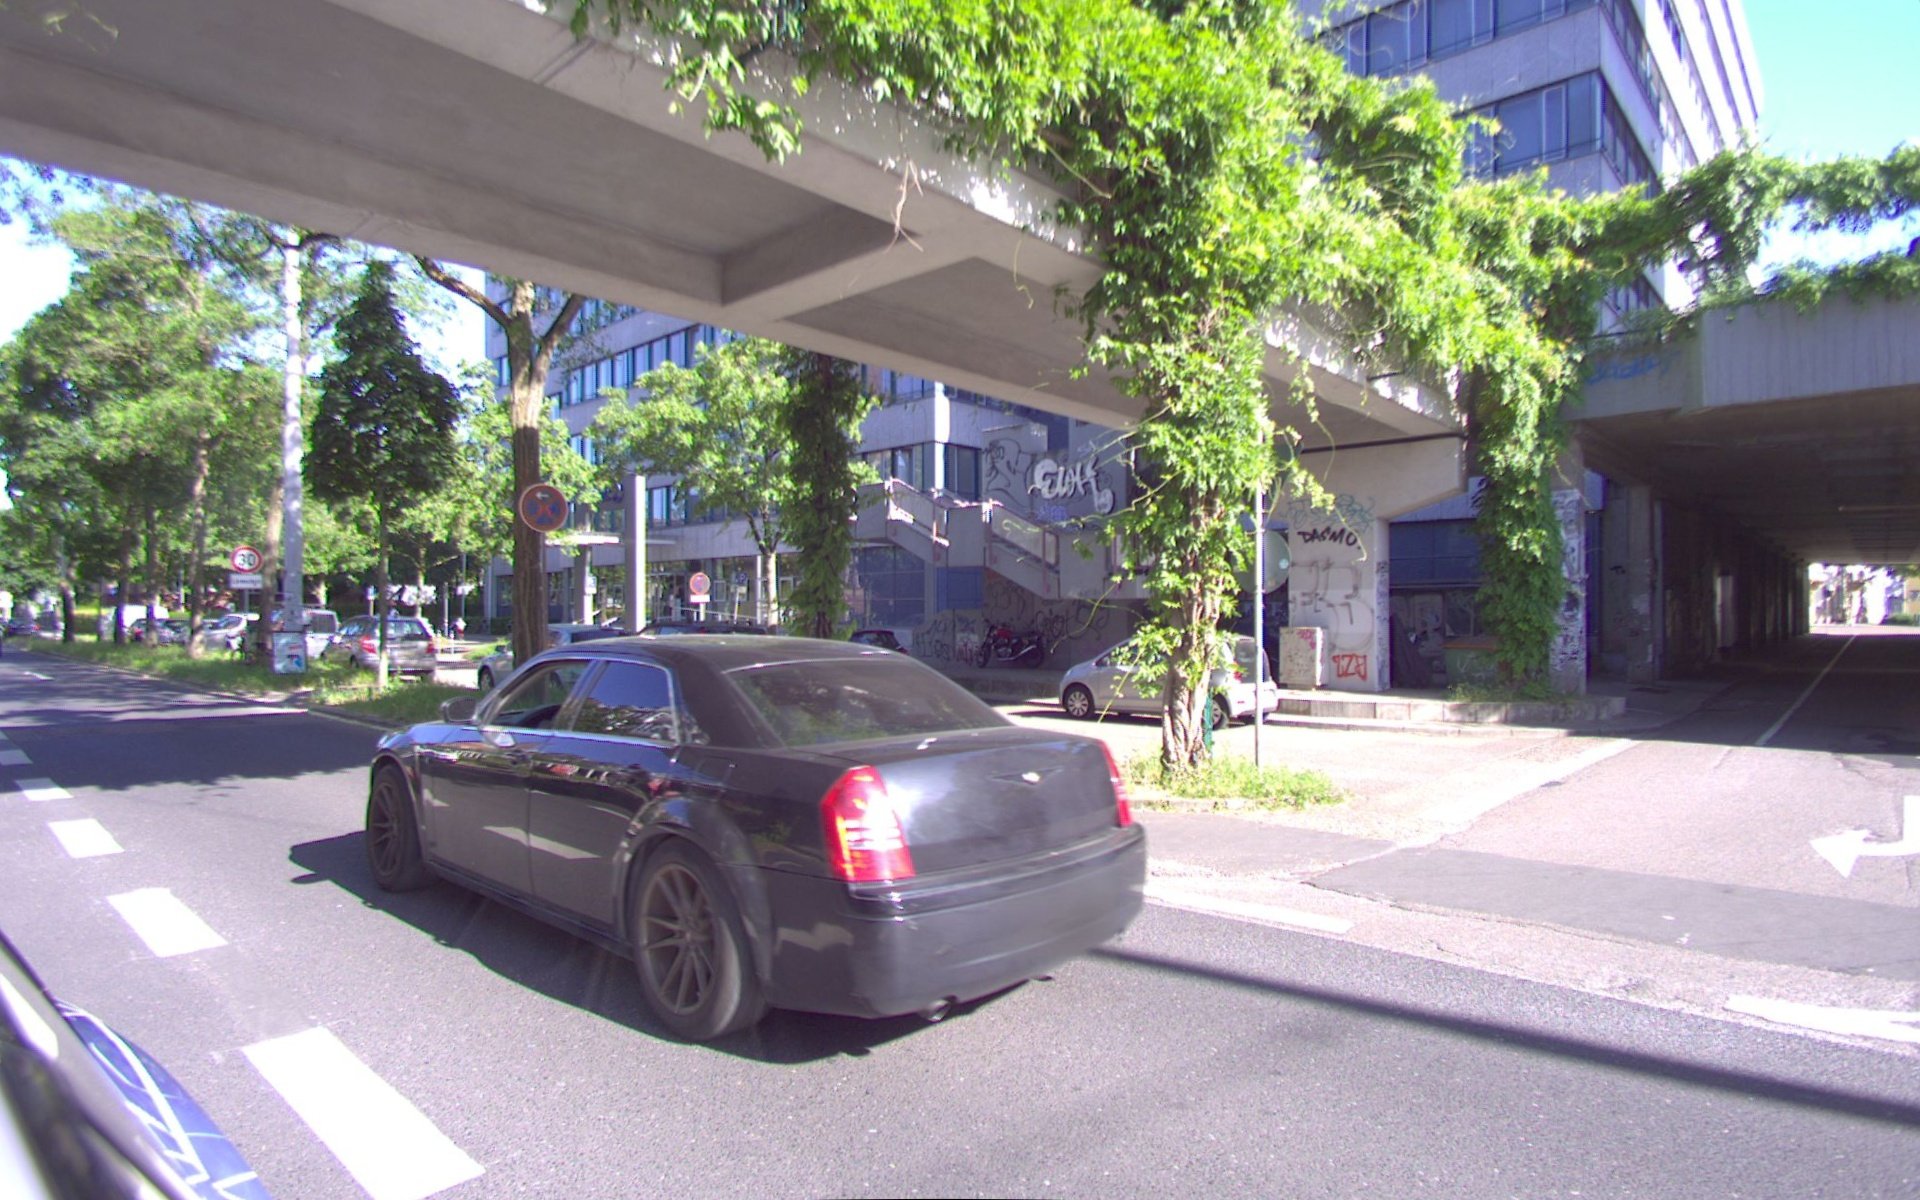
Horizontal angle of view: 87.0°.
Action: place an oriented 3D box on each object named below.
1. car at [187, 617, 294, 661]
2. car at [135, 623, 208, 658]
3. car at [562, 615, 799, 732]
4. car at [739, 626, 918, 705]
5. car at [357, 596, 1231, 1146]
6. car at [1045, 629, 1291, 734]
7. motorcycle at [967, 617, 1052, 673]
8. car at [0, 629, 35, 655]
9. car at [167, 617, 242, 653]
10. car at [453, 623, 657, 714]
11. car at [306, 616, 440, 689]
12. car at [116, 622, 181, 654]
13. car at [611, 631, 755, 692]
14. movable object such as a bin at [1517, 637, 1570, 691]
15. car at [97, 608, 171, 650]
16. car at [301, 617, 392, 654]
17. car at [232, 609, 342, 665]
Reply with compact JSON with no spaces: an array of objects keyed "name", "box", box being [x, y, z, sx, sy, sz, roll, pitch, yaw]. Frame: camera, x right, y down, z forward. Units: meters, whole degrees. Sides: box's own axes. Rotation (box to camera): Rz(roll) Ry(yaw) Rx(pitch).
[{"name":"car","box":[-24.545,1.299,34.469,4.484,1.394,1.700,-1,-1,37]},{"name":"car","box":[-32.257,1.615,41.363,3.968,1.354,1.635,-1,-1,41]},{"name":"car","box":[-4.328,1.051,15.422,3.779,1.550,1.721,-1,-4,43]},{"name":"car","box":[-2.920,1.347,22.024,4.000,1.541,1.713,-1,-2,43]},{"name":"car","box":[-1.203,0.773,4.980,4.593,1.469,1.845,-1,-2,43]},{"name":"car","box":[3.314,1.225,16.488,3.647,1.497,1.589,-1,-2,42]},{"name":"motorcycle","box":[1.182,1.058,24.362,2.053,1.280,0.721,-1,-1,42]},{"name":"car","box":[-57.195,2.498,61.100,4.000,1.501,1.717,-1,-1,43]},{"name":"car","box":[-27.926,1.266,37.367,3.848,1.236,1.633,-1,-1,44]},{"name":"car","box":[-7.435,1.203,18.382,4.280,1.459,1.635,-1,-5,41]},{"name":"car","box":[-14.496,1.223,24.921,4.083,1.659,1.753,-1,-2,43]},{"name":"car","box":[-35.923,1.660,44.778,4.188,1.343,1.657,-1,-1,43]},{"name":"car","box":[-7.128,1.507,25.892,3.798,1.414,1.664,-1,-2,40]},{"name":"movable object such as a bin","box":[10.468,1.135,18.152,0.718,0.912,0.632,-1,-1,41]},{"name":"car","box":[-39.721,1.381,48.646,4.524,1.923,2.043,-1,-1,42]},{"name":"car","box":[-33.168,1.898,54.777,3.939,1.726,1.707,-3,1,-43]},{"name":"car","box":[-20.190,1.060,30.283,4.448,1.561,1.711,-1,-1,42]}]
